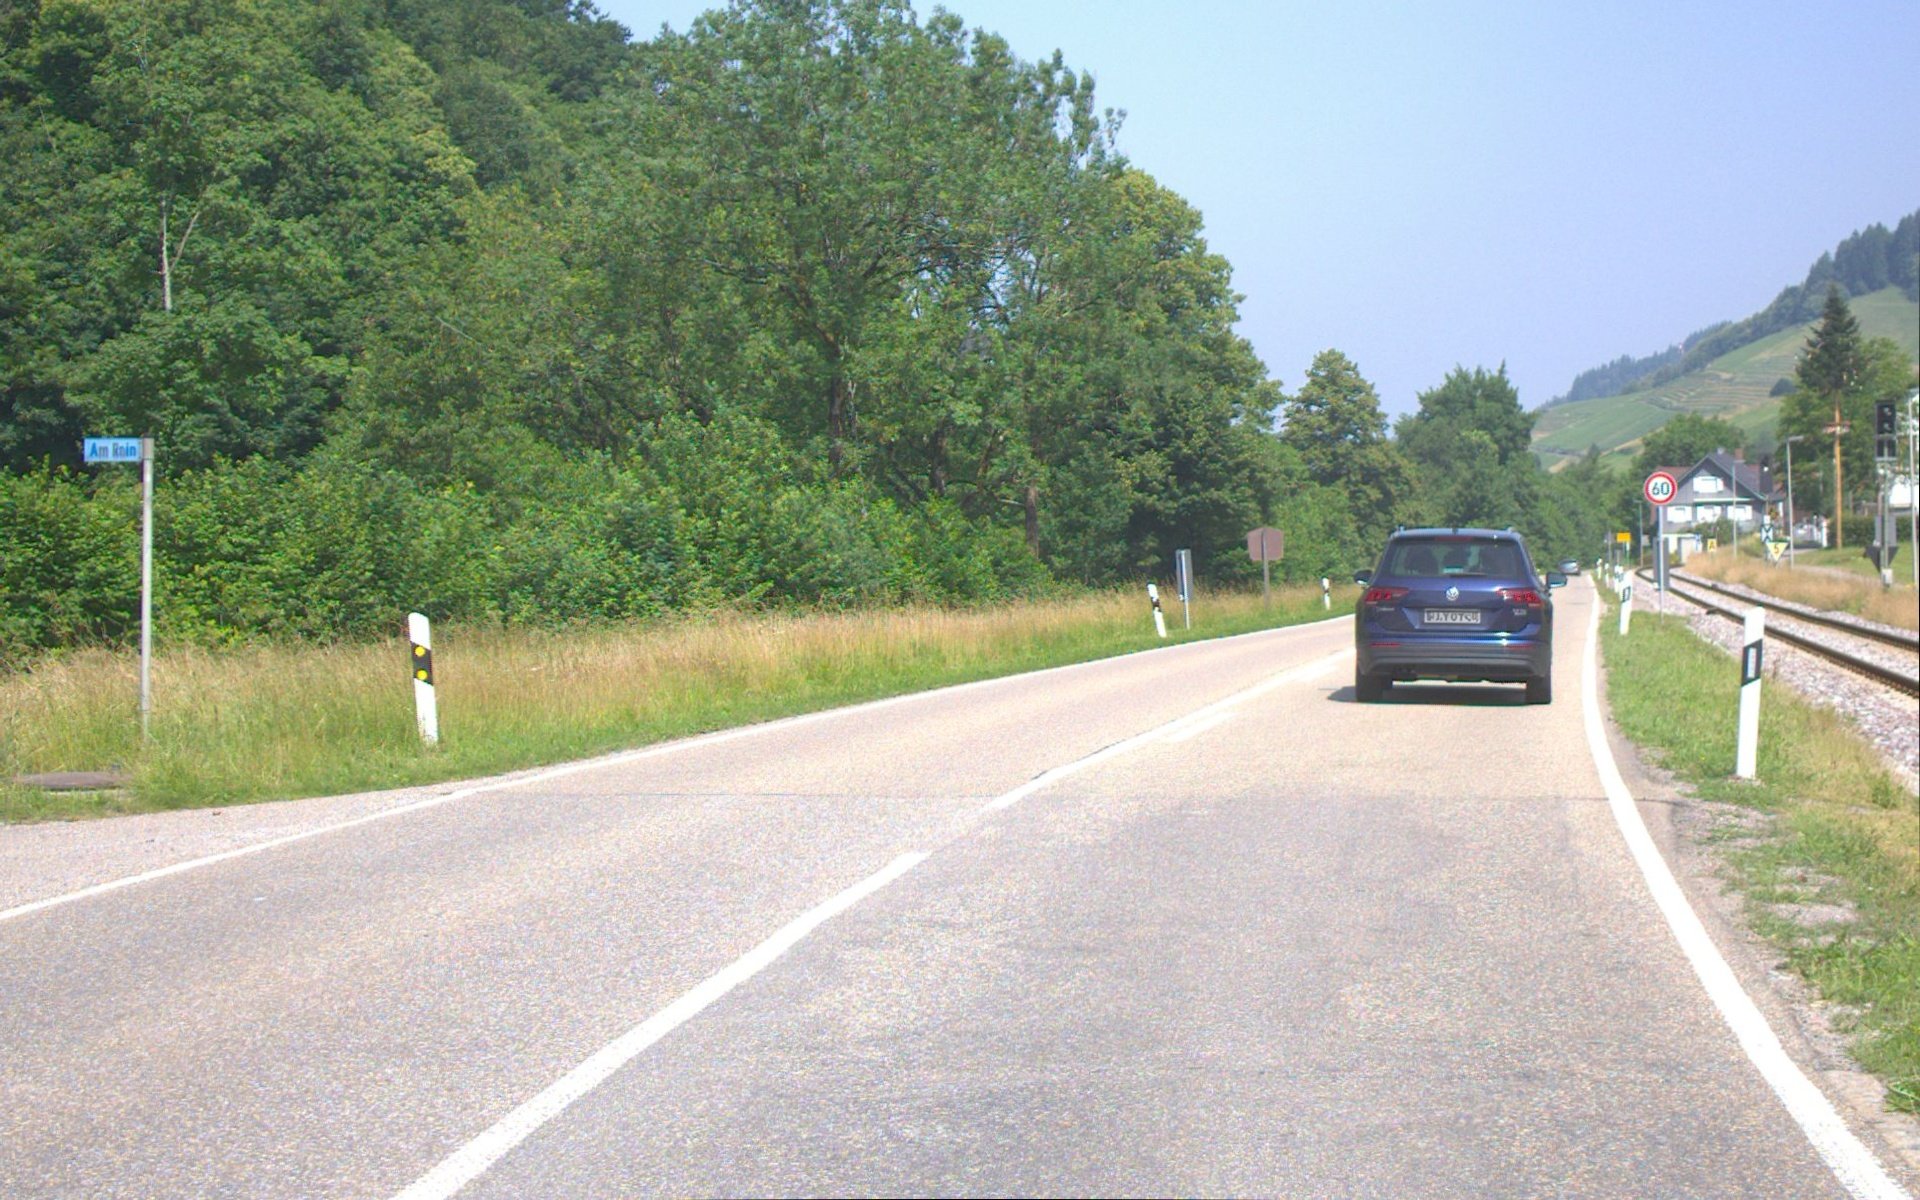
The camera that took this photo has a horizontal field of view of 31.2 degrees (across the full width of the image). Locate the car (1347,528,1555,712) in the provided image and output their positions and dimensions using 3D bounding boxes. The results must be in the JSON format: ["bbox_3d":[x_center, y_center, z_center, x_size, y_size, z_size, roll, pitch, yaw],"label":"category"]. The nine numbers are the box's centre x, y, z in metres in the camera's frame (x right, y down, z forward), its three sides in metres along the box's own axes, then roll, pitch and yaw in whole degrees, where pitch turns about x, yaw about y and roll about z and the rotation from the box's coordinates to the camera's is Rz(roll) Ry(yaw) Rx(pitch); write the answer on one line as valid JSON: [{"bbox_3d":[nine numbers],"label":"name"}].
[{"bbox_3d":[4.698,0.169,33.049,1.853,1.643,4.139,0,0,8],"label":"car"}]
